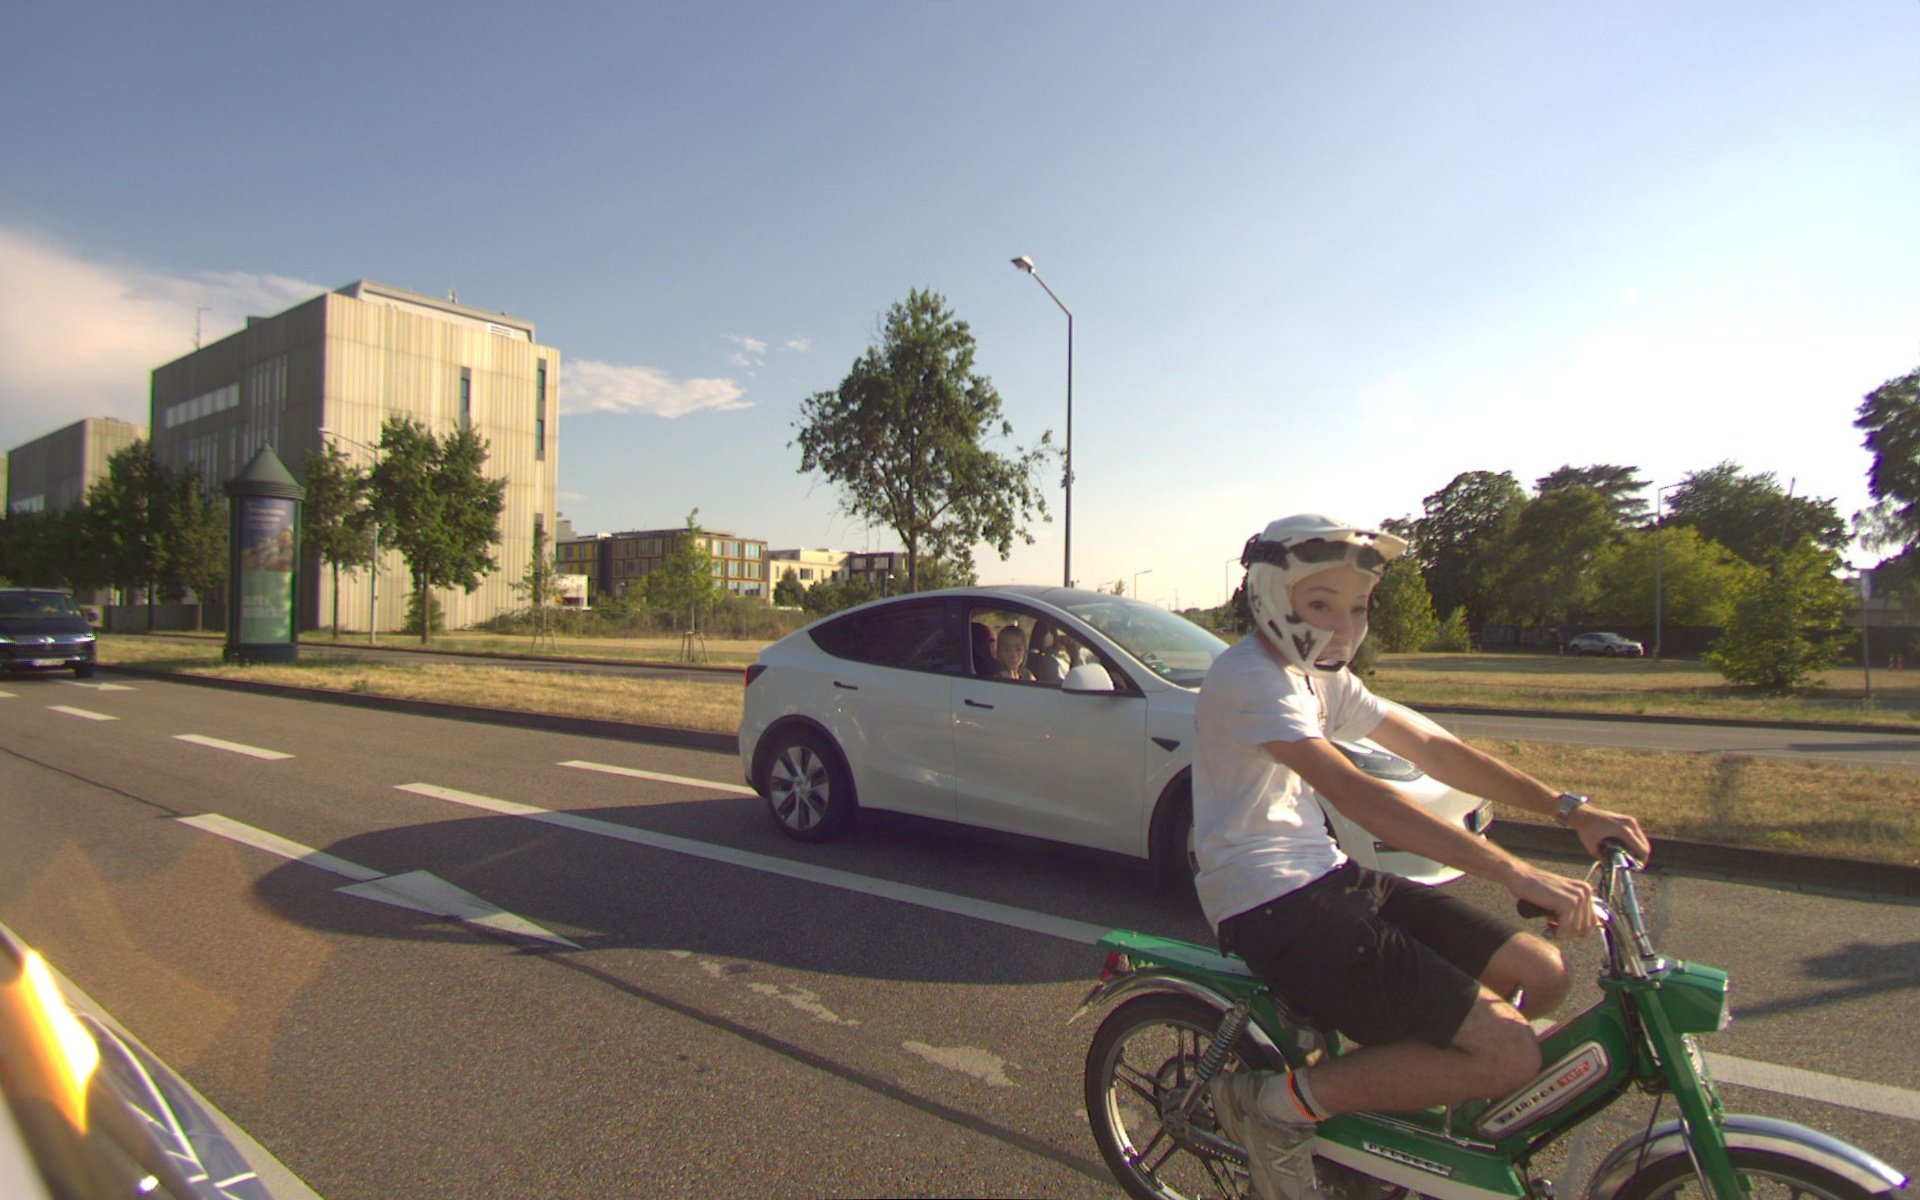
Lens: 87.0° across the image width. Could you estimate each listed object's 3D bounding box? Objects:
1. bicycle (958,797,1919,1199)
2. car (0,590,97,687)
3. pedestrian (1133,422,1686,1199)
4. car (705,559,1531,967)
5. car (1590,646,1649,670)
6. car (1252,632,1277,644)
[{"bbox_3d":[0.847,0.959,1.979,1.855,0.882,0.472,-1,-3,41],"label":"bicycle"},{"bbox_3d":[-20.972,0.791,22.333,5.003,1.947,1.839,-1,-1,36],"label":"car"},{"bbox_3d":[0.886,0.513,2.030,0.854,1.530,0.649,-1,-3,41],"label":"pedestrian"},{"bbox_3d":[0.659,0.680,6.099,4.669,1.611,1.719,-1,-1,37],"label":"car"},{"bbox_3d":[39.073,3.416,59.982,1.315,1.302,2.810,1,-2,-10],"label":"car"},{"bbox_3d":[31.885,3.989,105.983,1.315,1.302,2.810,1,-2,-10],"label":"car"}]
